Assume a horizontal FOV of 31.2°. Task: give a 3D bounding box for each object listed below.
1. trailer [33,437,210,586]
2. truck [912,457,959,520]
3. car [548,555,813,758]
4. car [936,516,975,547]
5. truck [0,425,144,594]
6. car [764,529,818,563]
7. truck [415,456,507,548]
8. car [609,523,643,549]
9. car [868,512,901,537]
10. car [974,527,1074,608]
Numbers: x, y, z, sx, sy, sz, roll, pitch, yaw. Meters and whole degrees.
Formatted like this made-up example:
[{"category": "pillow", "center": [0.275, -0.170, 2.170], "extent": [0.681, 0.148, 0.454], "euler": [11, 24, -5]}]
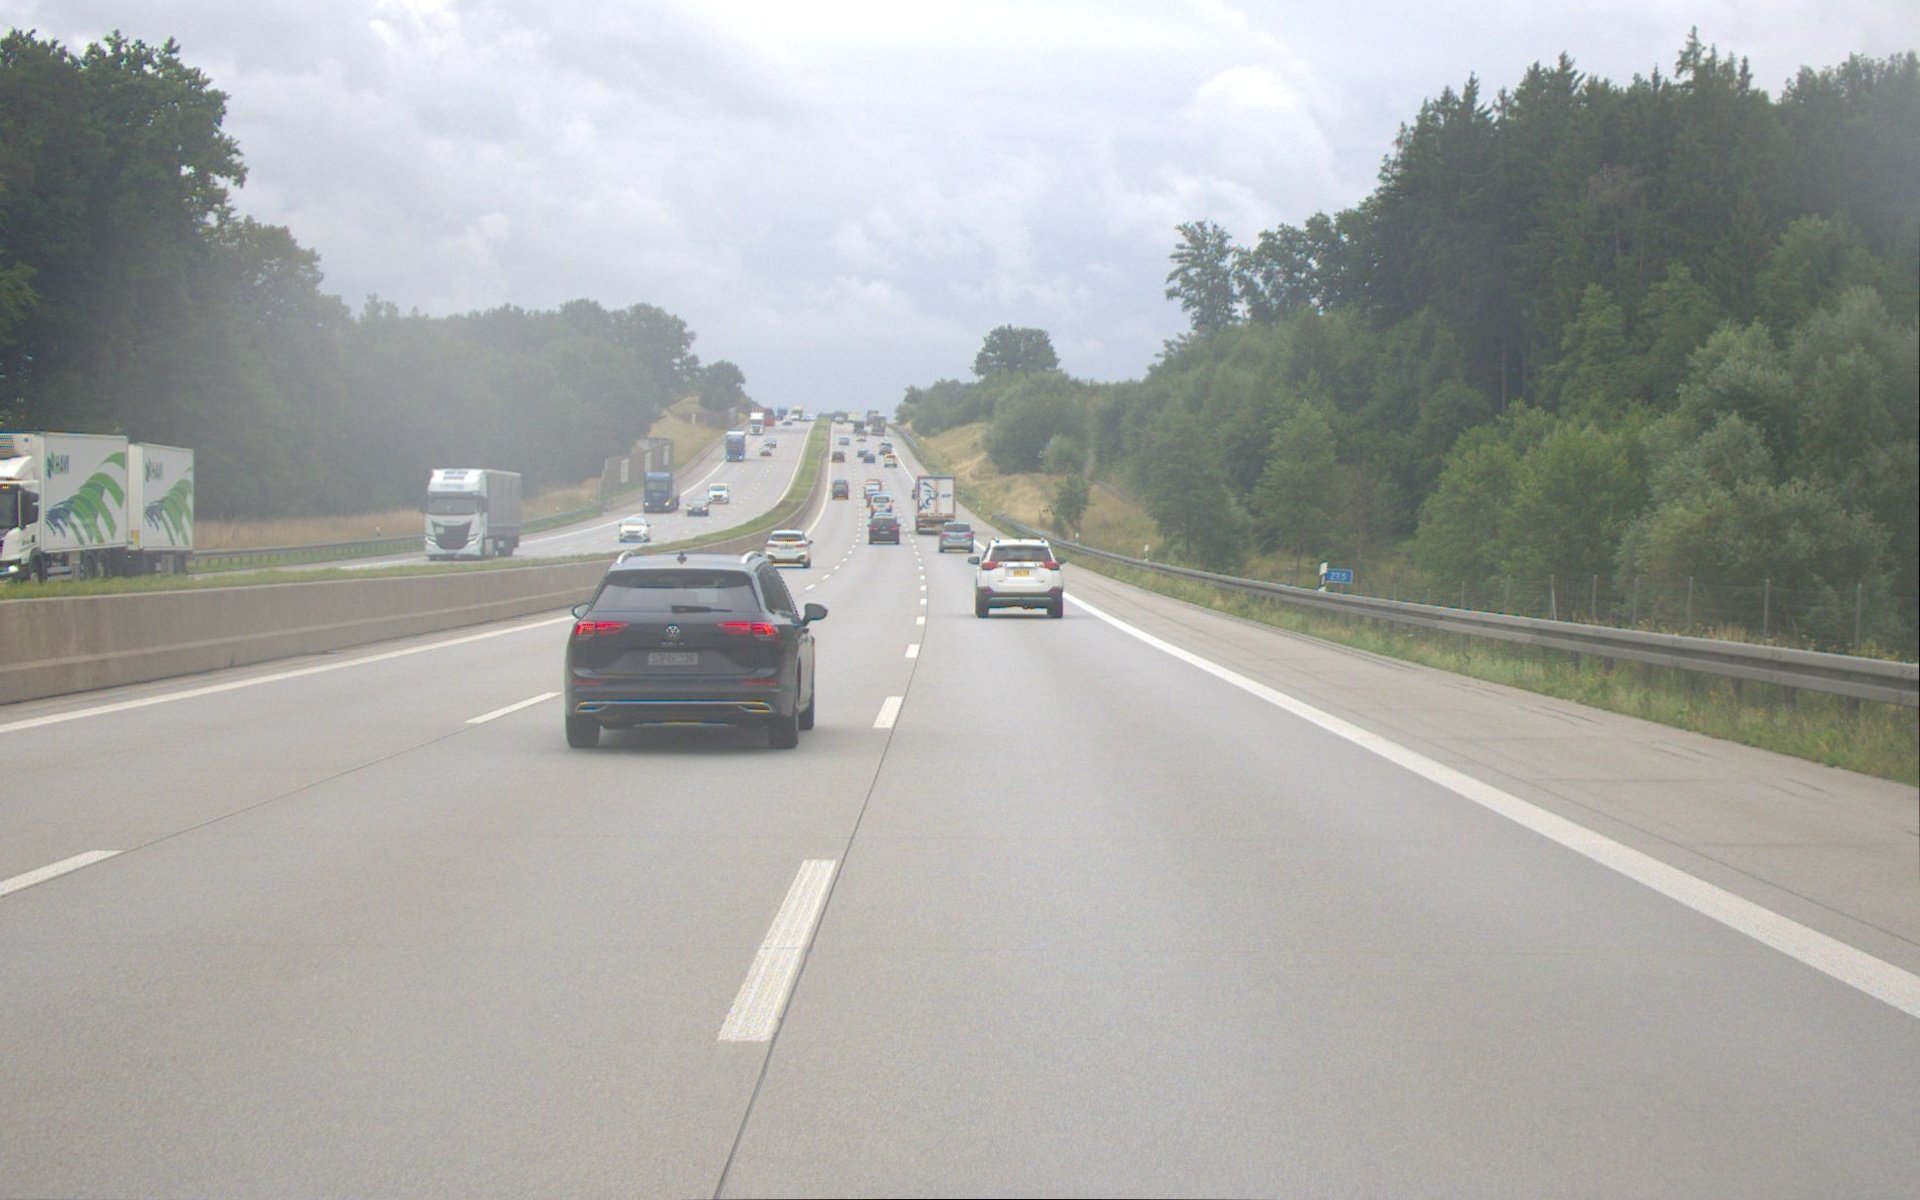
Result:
[{"category": "trailer", "center": [-22.301, -2.377, 91.851], "extent": [2.818, 3.770, 7.716], "euler": [1, 2, 0]}, {"category": "truck", "center": [-1.755, -7.828, 239.827], "extent": [3.017, 4.165, 8.356], "euler": [1, 3, -2]}, {"category": "car", "center": [-2.088, 0.371, 26.768], "extent": [1.752, 1.393, 4.484], "euler": [1, 1, -1]}, {"category": "car", "center": [-0.260, -3.641, 182.406], "extent": [1.993, 1.524, 4.000], "euler": [3, 1, 0]}, {"category": "truck", "center": [-22.314, -2.152, 82.326], "extent": [2.813, 3.760, 11.351], "euler": [1, 1, 0]}, {"category": "car", "center": [-6.978, -2.229, 142.179], "extent": [1.947, 1.351, 4.259], "euler": [1, 1, 1]}, {"category": "truck", "center": [-22.604, -4.454, 156.028], "extent": [3.212, 4.043, 7.167], "euler": [1, 2, -1]}, {"category": "car", "center": [-20.272, -3.881, 208.692], "extent": [1.783, 1.463, 4.372], "euler": [0, 2, -2]}, {"category": "car", "center": [-4.522, -4.556, 207.243], "extent": [1.935, 1.370, 4.595], "euler": [1, 2, -1]}, {"category": "car", "center": [1.326, -0.705, 72.960], "extent": [1.825, 1.650, 3.986], "euler": [0, 1, -3]}]
